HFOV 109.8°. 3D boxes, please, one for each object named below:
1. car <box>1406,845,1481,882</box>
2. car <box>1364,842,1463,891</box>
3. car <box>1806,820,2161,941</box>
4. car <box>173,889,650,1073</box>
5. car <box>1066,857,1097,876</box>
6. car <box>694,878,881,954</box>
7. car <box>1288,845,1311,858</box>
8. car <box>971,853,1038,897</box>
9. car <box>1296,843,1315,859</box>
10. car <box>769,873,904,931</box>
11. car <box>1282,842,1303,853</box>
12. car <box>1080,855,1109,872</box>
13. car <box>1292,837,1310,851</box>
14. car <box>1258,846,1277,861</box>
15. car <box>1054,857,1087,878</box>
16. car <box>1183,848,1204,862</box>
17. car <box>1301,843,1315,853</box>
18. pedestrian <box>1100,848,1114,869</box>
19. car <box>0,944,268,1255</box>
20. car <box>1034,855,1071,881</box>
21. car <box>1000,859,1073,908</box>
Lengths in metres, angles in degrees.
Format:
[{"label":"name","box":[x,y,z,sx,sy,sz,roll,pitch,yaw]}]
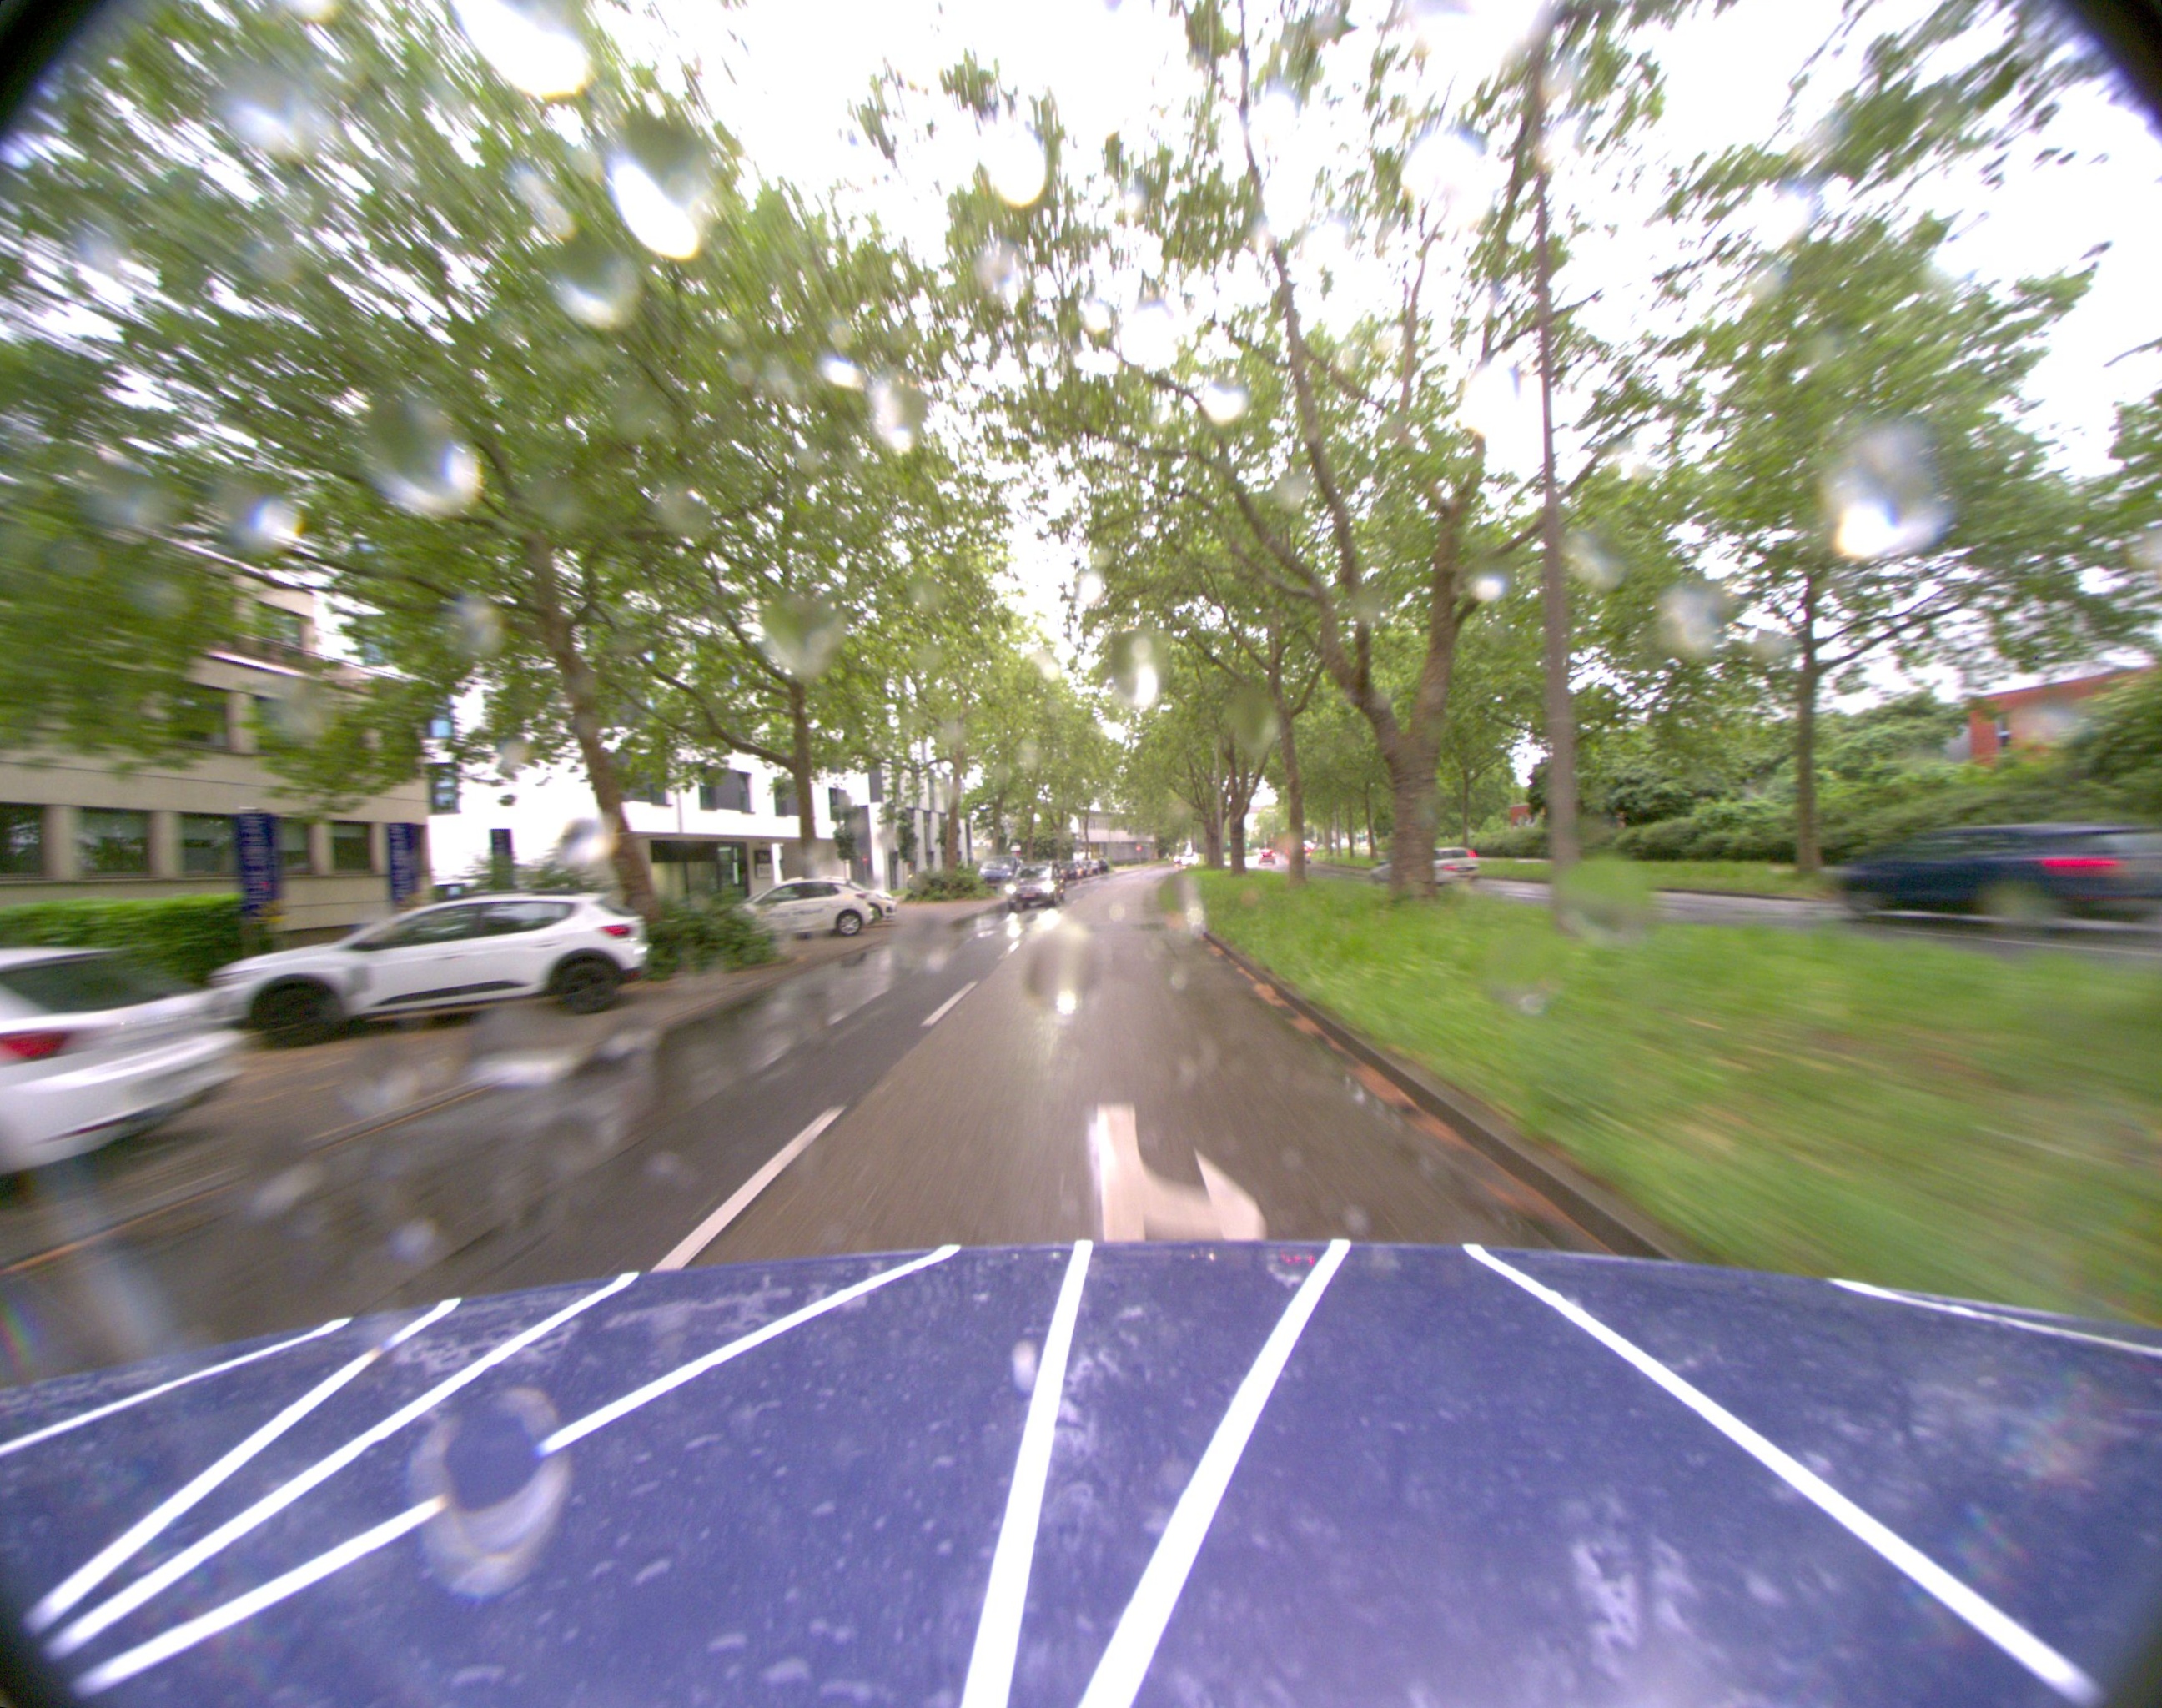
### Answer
[{"label":"car","box":[16.100,0.379,33.950,1.747,1.467,4.084,-3,0,7]},{"label":"car","box":[12.201,0.408,28.166,1.748,1.582,4.330,-3,0,1]},{"label":"car","box":[14.871,0.345,12.505,1.748,1.582,4.209,-3,0,-2]},{"label":"car","box":[-7.690,1.352,9.349,4.043,1.530,1.745,-3,0,-29]},{"label":"car","box":[0.095,1.035,65.787,1.746,1.420,5.107,-3,0,10]},{"label":"car","box":[-7.151,1.424,18.568,4.043,1.420,1.745,-3,0,-27]},{"label":"car","box":[29.682,-0.405,103.146,1.744,1.552,4.376,-3,0,34]},{"label":"car","box":[-3.920,1.014,40.137,2.125,2.016,5.530,-3,0,8]},{"label":"car","box":[22.703,-0.314,76.799,1.745,1.451,3.846,-3,0,17]},{"label":"car","box":[-7.304,1.404,23.059,3.647,1.495,1.748,-3,-1,-11]},{"label":"car","box":[39.386,-1.204,141.268,2.031,1.726,4.963,-3,0,36]},{"label":"car","box":[1.313,0.901,72.233,1.746,1.420,4.864,-1,1,13]},{"label":"car","box":[37.733,-1.679,130.241,2.032,2.213,5.442,-3,0,25]},{"label":"car","box":[19.957,-0.075,81.396,1.746,1.467,4.414,-3,0,12]},{"label":"car","box":[-0.785,1.032,59.513,1.746,1.467,4.085,-3,0,11]},{"label":"car","box":[14.441,0.141,97.417,1.996,1.620,4.526,-4,0,15]},{"label":"car","box":[40.827,-1.120,136.465,1.996,1.622,4.337,-4,0,20]},{"label":"pedestrian","box":[2.524,0.407,73.419,0.901,2.002,0.832,-3,1,-25]},{"label":"car","box":[-7.344,1.440,4.020,3.696,1.408,1.746,-3,0,-23]},{"label":"car","box":[-1.904,0.948,52.792,1.747,1.557,4.374,-3,0,8]},{"label":"car","box":[-1.640,1.091,30.380,1.998,1.585,5.591,-4,0,5]}]
